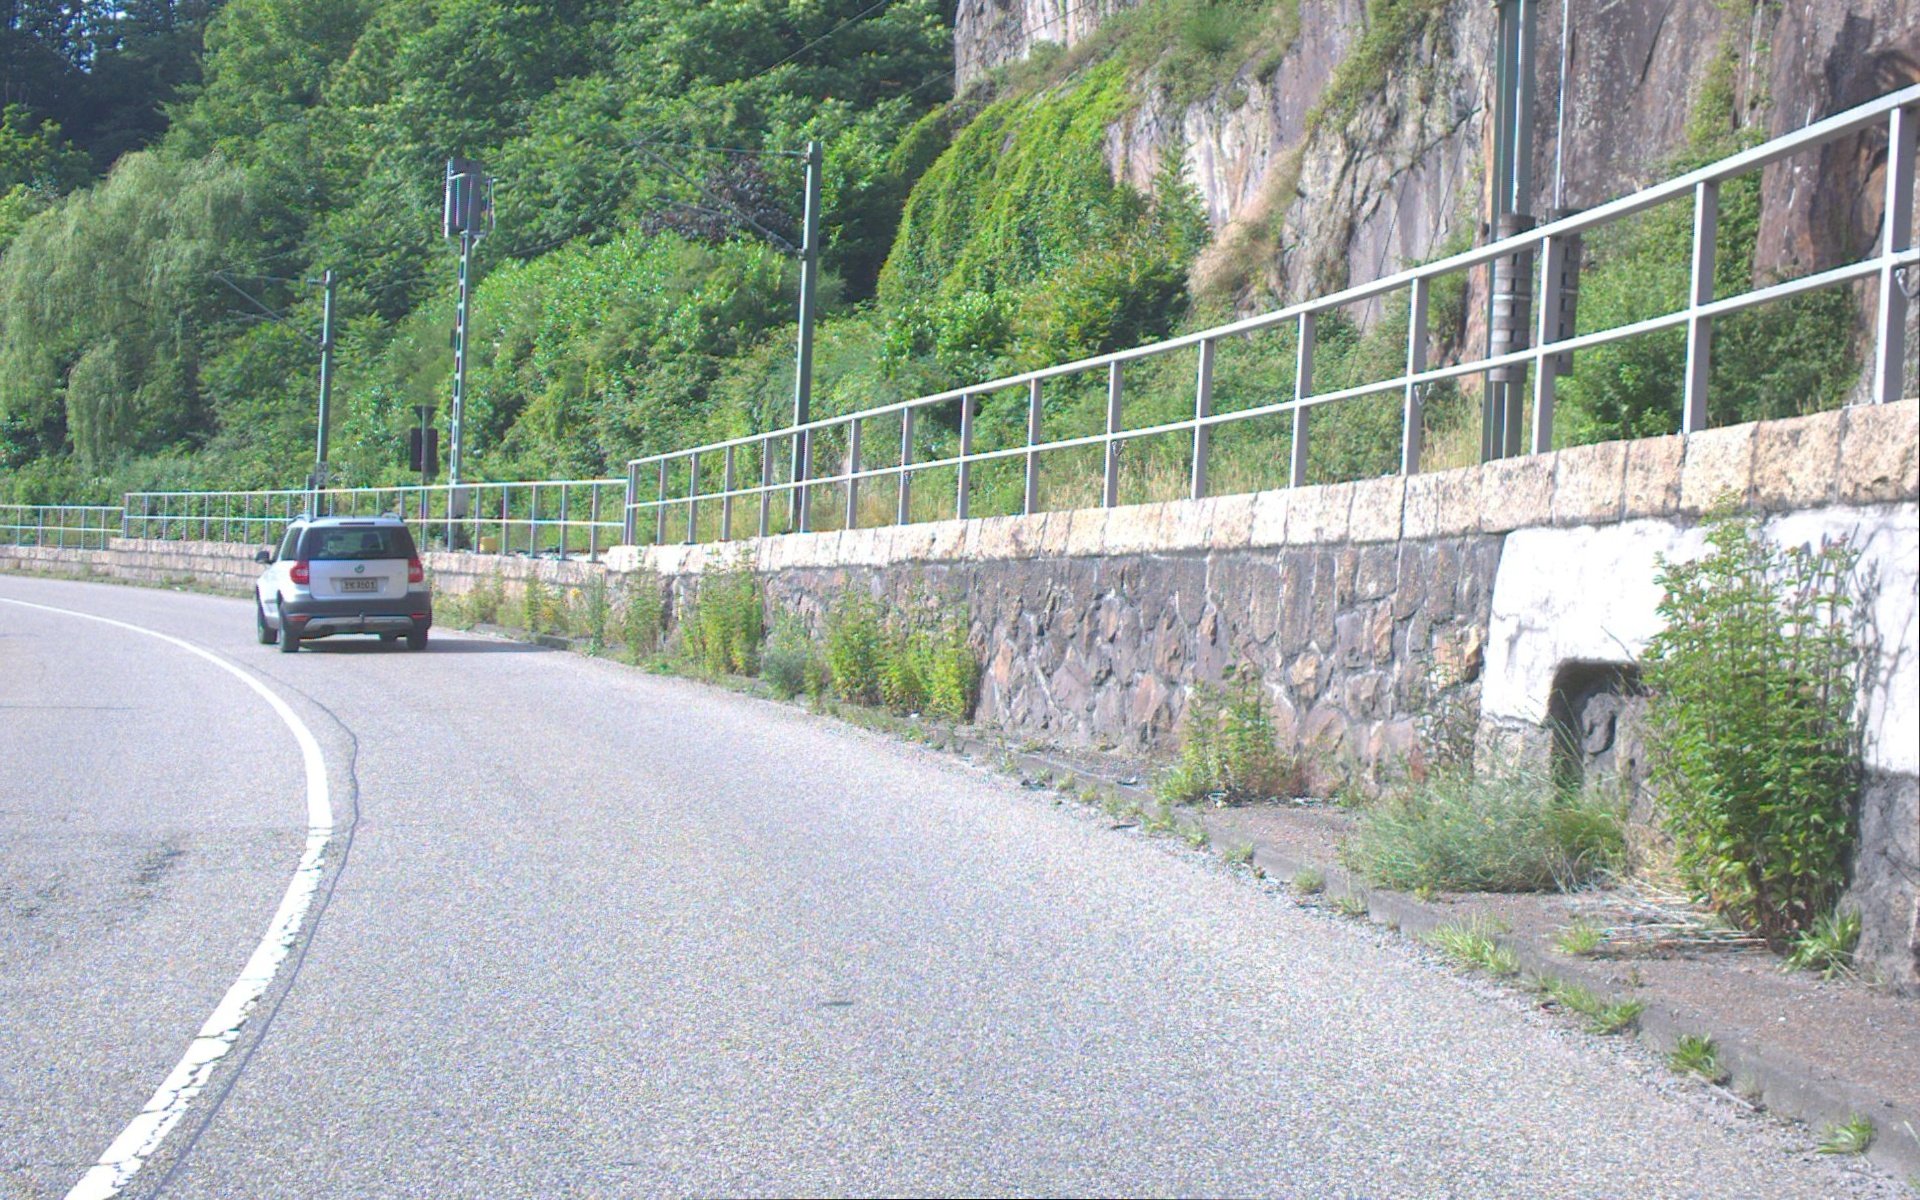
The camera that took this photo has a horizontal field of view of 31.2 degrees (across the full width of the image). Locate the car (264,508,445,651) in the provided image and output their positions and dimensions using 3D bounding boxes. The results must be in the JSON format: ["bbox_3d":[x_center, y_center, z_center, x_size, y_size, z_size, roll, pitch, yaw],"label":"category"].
[{"bbox_3d":[-7.550,-0.294,42.616,1.872,1.650,4.002,0,2,-15],"label":"car"}]
